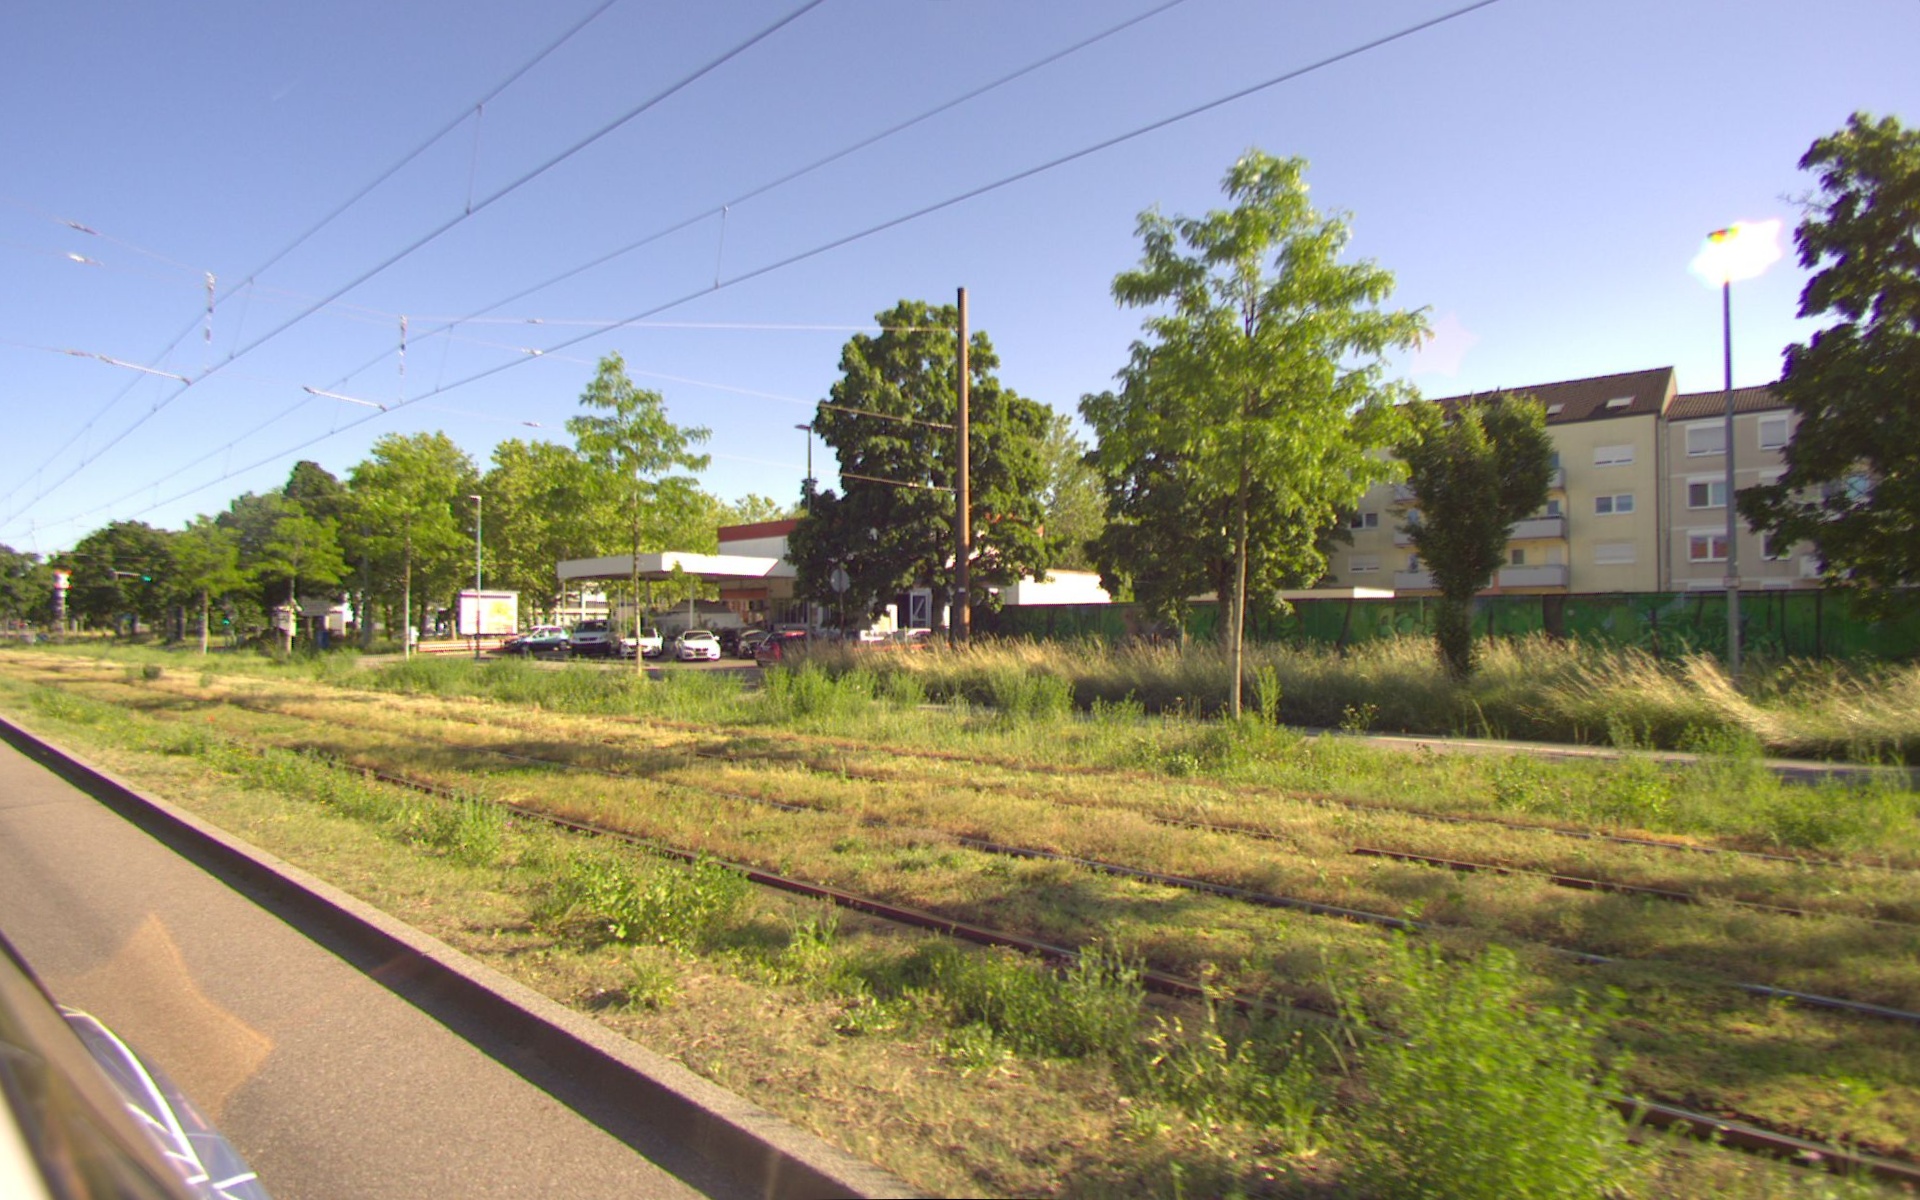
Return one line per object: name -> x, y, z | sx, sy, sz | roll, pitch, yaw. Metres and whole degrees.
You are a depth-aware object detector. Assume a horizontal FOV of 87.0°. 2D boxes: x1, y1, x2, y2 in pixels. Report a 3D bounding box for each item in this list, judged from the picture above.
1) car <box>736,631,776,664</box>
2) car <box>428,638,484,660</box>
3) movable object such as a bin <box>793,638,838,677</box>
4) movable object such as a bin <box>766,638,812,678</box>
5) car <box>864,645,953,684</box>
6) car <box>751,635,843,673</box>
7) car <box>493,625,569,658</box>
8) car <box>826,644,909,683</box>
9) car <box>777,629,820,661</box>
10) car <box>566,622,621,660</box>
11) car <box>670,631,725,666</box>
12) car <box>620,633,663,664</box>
car -> -10.024, 2.317, 49.711 | 1.820, 1.519, 4.000 | 1, -2, -11
car -> -44.993, 4.359, 90.411 | 1.997, 1.840, 4.001 | -1, -1, 38
movable object such as a bin -> -5.366, 2.132, 37.650 | 1.119, 1.375, 1.212 | -1, -3, 38
movable object such as a bin -> -6.183, 2.076, 36.599 | 1.119, 1.379, 1.212 | -1, -2, 38
car -> -2.182, 2.751, 43.881 | 1.704, 1.521, 3.777 | -2, -2, 42
car -> -6.796, 2.254, 42.489 | 1.639, 1.523, 3.665 | -2, -4, 37
car -> -27.137, 2.610, 64.051 | 2.000, 1.871, 3.943 | -3, -1, 44
car -> -4.145, 2.840, 45.917 | 1.703, 1.646, 3.709 | -2, -2, 37
car -> -8.431, 2.362, 52.641 | 1.994, 1.562, 4.310 | 1, -3, -11
car -> -19.217, 2.175, 53.231 | 1.868, 1.925, 4.819 | 0, -3, -9
car -> -12.604, 2.300, 48.395 | 1.992, 1.519, 4.905 | 2, -2, -21
car -> -15.810, 2.390, 50.405 | 1.689, 1.436, 4.468 | 0, -1, -13
